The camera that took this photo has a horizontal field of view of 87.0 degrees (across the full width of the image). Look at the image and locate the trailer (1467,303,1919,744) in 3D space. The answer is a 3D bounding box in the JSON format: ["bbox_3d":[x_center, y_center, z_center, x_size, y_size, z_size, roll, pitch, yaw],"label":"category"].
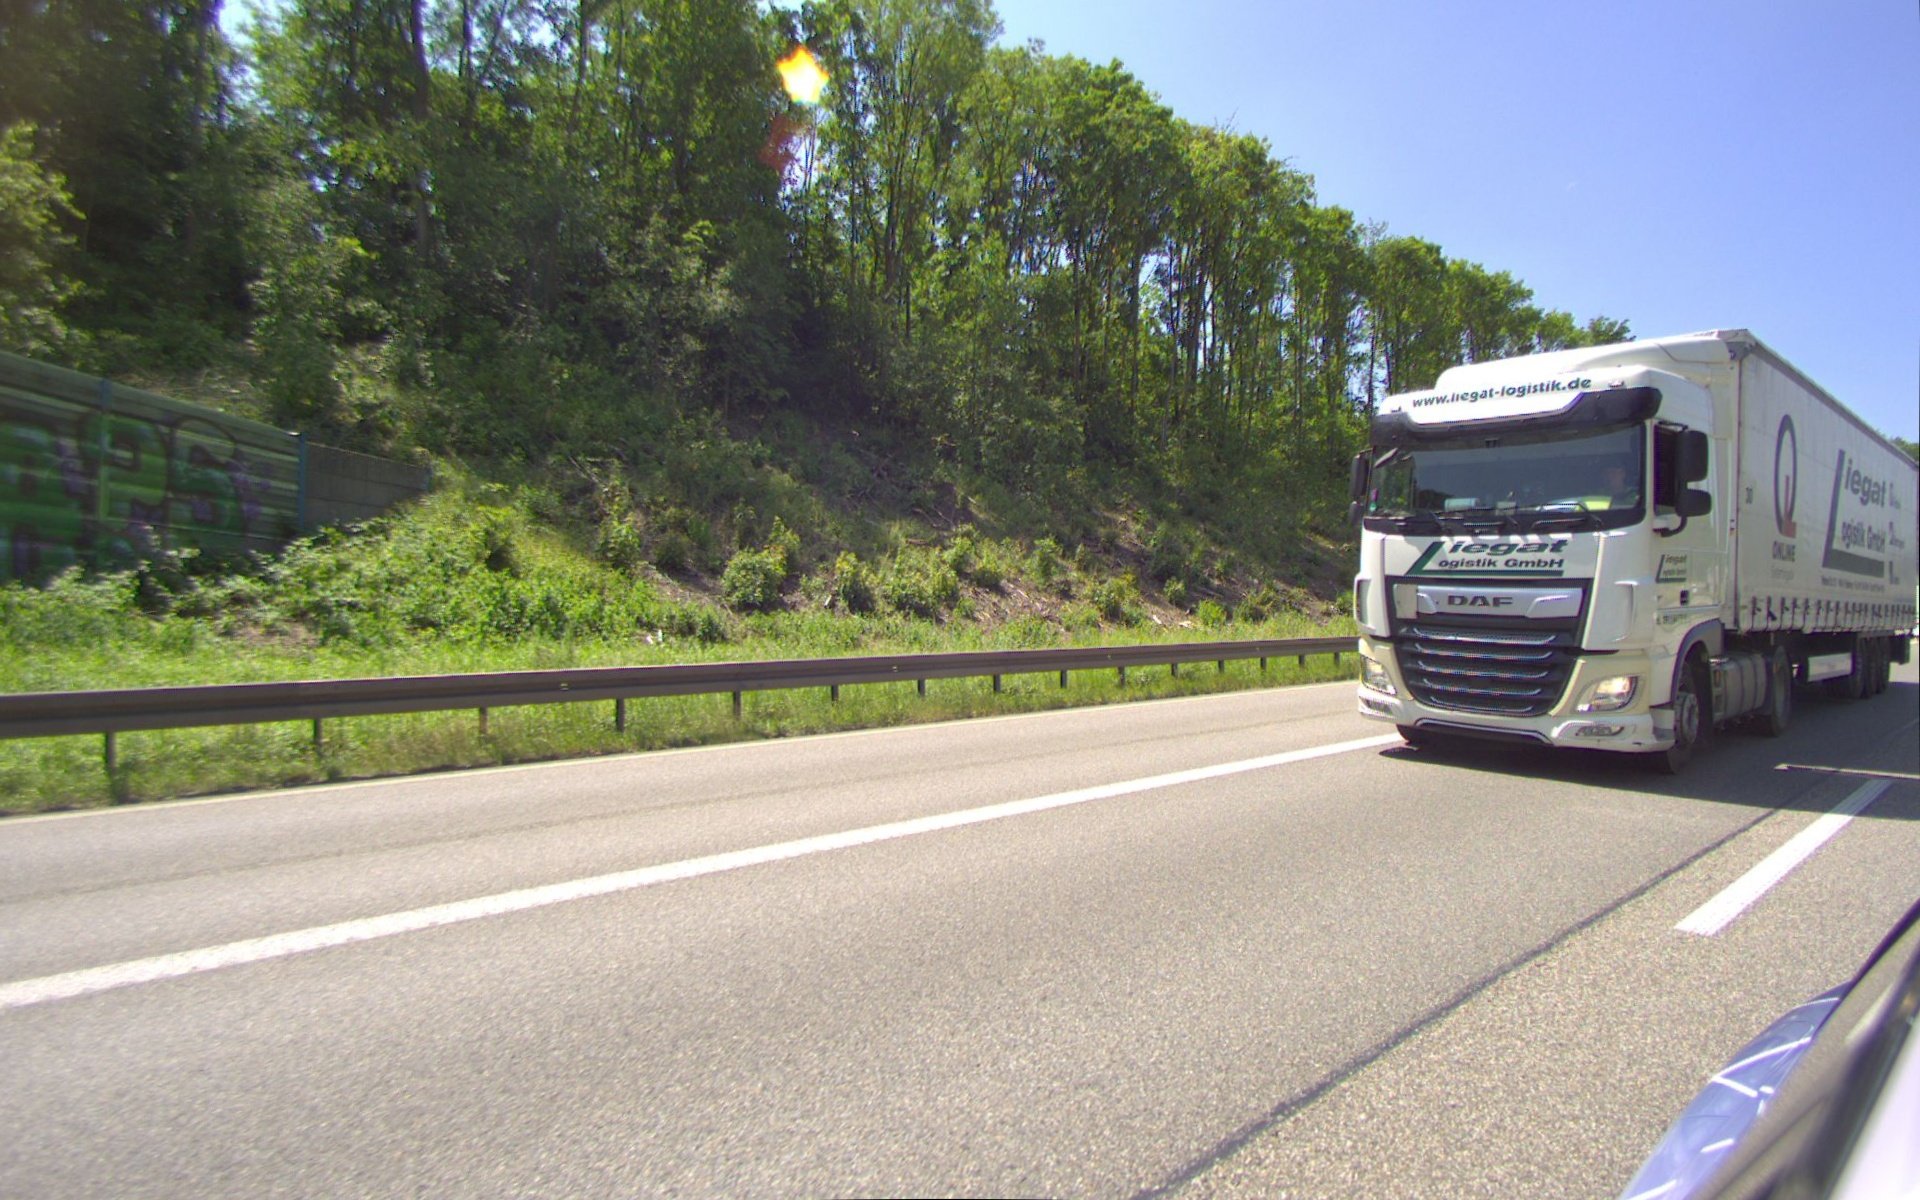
[{"bbox_3d":[11.810,-0.665,15.082,13.008,4.258,2.791,1,-1,-41],"label":"trailer"}]

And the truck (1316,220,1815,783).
[{"bbox_3d":[6.538,-0.722,10.584,5.765,4.258,2.791,1,-1,-40],"label":"truck"}]
